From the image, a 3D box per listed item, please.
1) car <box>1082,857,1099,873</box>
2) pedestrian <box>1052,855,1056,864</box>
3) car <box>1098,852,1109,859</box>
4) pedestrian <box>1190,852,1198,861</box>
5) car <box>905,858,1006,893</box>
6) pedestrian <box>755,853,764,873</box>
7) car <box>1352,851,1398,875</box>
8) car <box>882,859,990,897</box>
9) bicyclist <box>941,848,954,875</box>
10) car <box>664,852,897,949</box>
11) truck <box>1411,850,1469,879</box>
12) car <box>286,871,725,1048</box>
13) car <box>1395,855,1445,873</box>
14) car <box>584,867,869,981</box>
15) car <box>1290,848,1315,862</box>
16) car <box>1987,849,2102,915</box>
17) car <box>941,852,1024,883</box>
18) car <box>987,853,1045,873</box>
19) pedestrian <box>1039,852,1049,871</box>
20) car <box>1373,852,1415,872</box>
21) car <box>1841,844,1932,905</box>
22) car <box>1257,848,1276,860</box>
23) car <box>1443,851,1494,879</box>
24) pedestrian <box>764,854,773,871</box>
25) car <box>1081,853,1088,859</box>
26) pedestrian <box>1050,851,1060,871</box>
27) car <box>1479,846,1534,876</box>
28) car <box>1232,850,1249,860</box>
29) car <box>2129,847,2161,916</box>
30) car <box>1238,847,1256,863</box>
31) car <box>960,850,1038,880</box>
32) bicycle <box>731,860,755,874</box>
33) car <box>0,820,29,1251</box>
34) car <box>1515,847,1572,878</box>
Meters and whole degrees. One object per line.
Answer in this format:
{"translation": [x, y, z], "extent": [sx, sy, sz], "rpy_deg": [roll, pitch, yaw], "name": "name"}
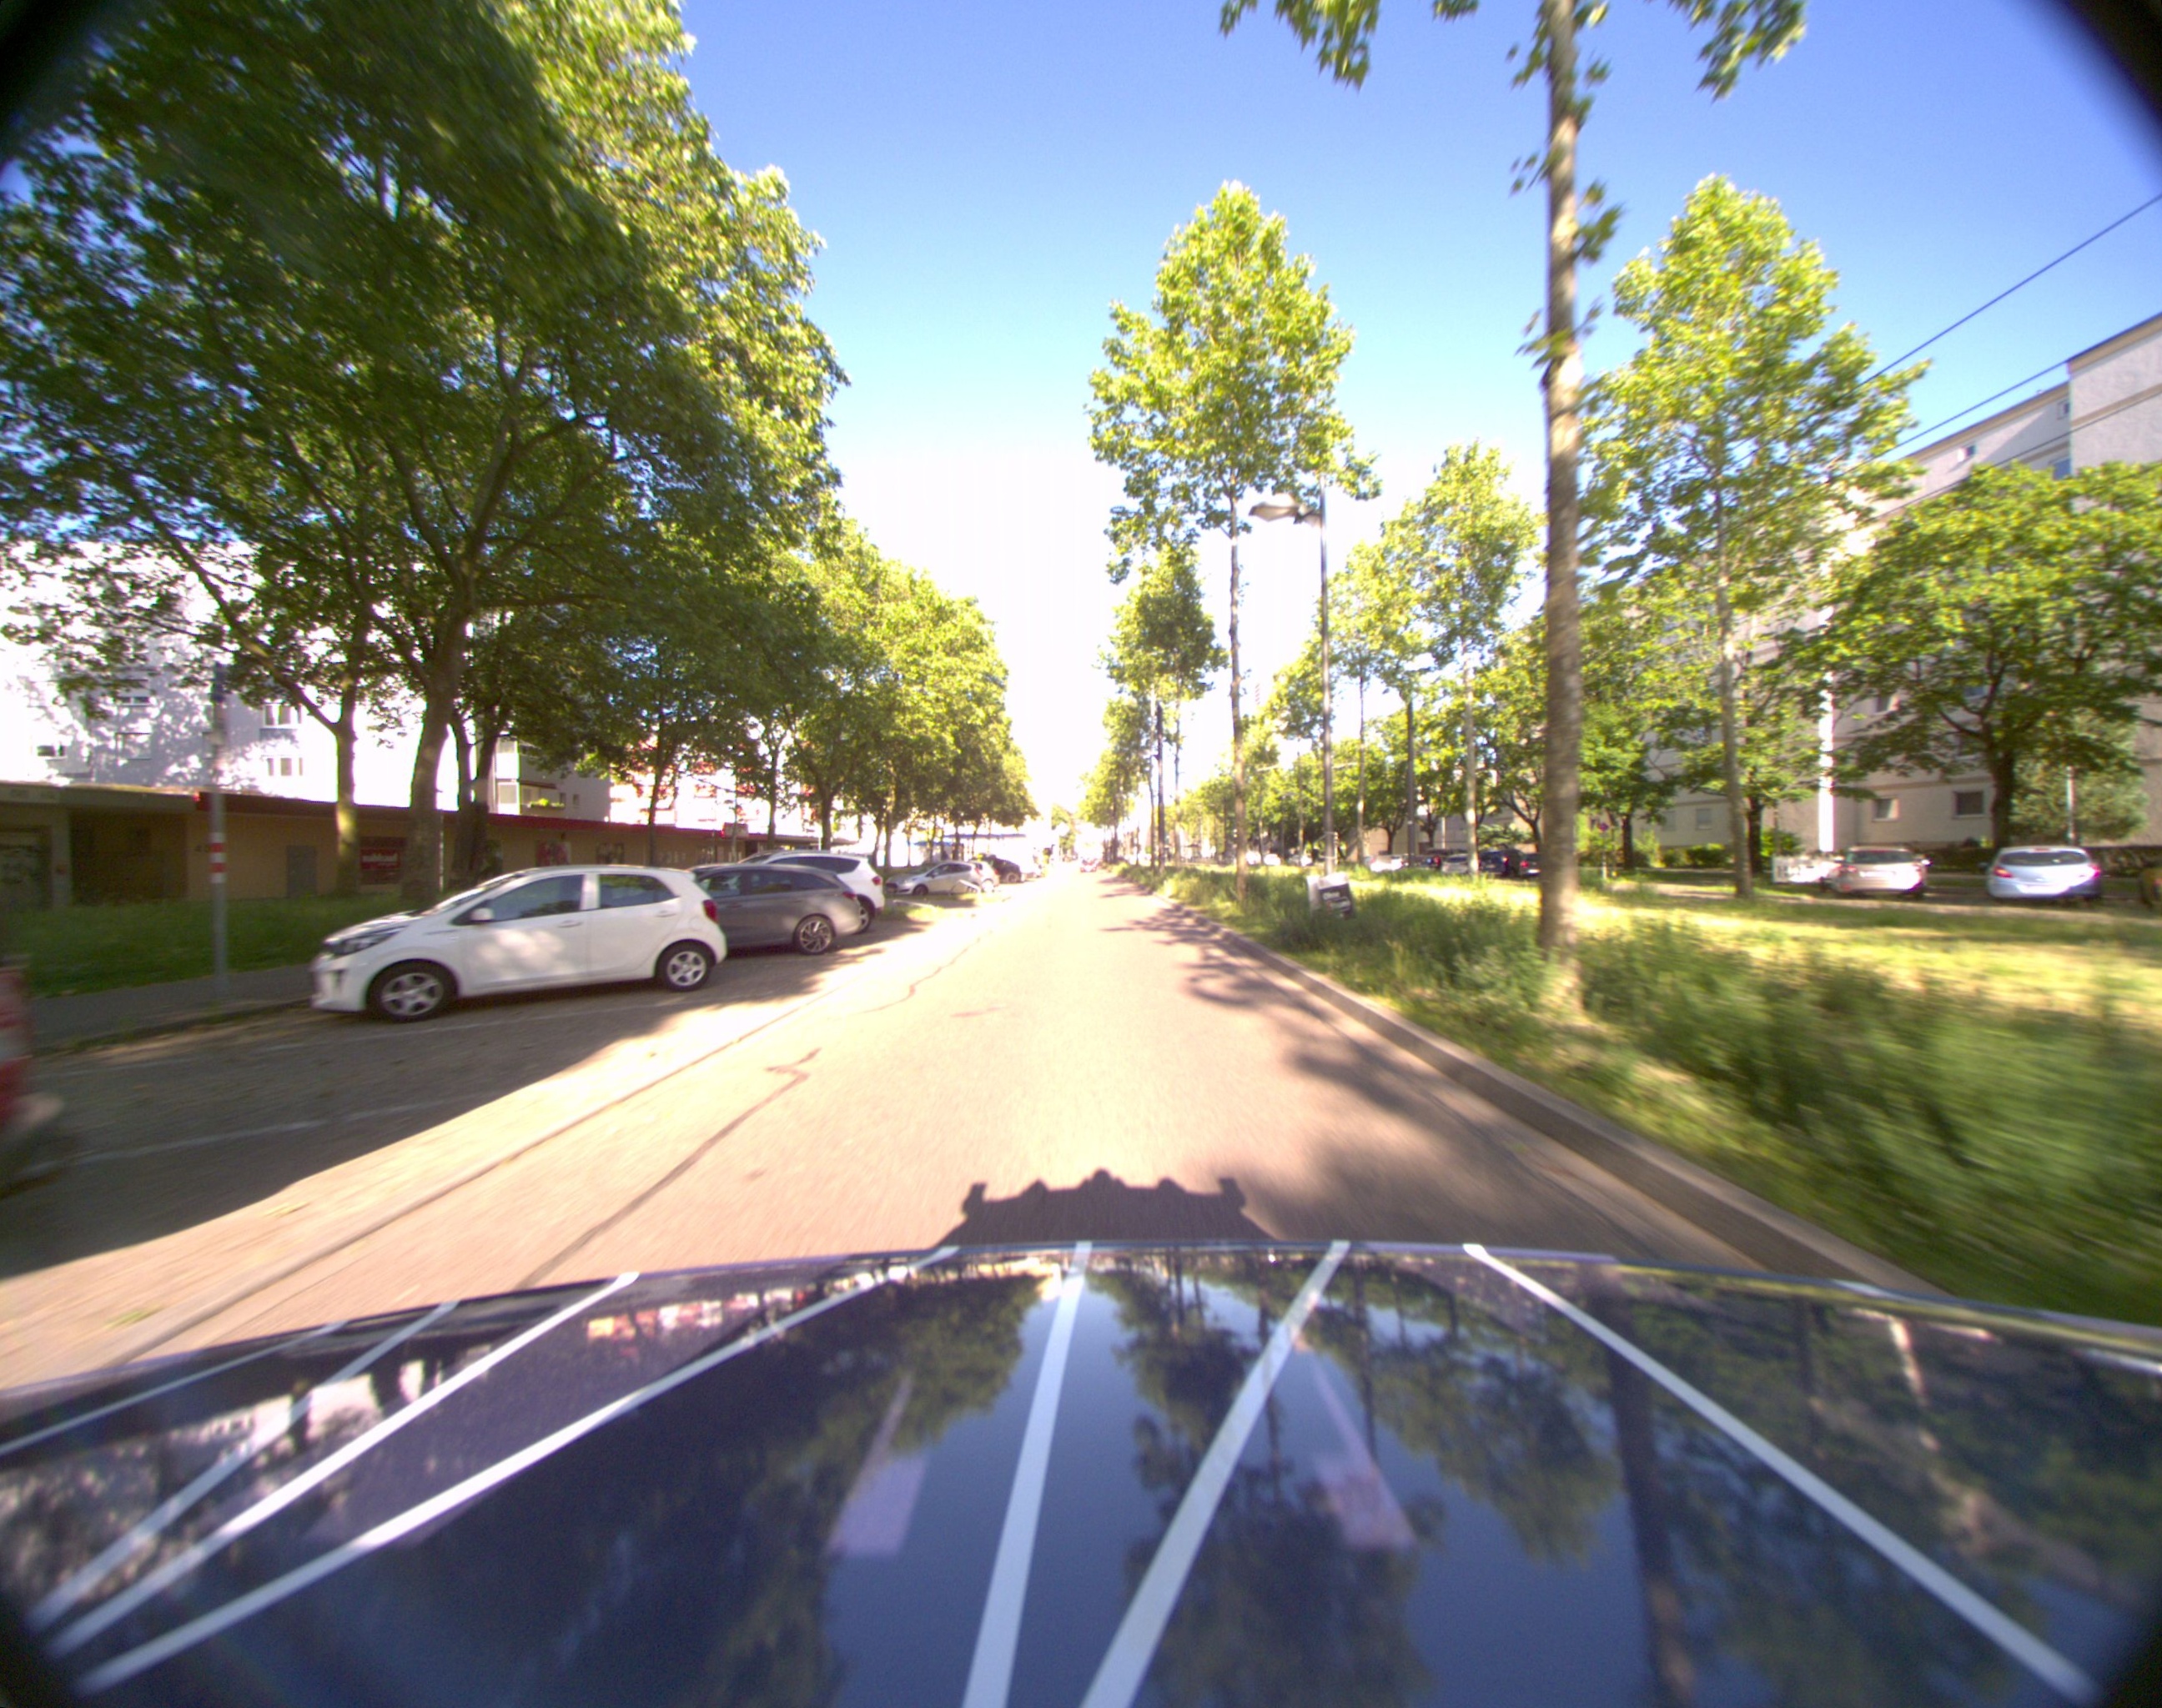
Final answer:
{"translation": [0.973, 1.094, 77.518], "extent": [1.619, 1.536, 4.277], "rpy_deg": [-1, 0, 2], "name": "car"}
{"translation": [-5.300, 1.127, 149.443], "extent": [0.605, 1.691, 0.552], "rpy_deg": [-1, 0, 5], "name": "pedestrian"}
{"translation": [5.861, 0.410, 198.230], "extent": [1.545, 1.522, 3.597], "rpy_deg": [-3, 1, -20], "name": "car"}
{"translation": [16.077, 0.316, 108.085], "extent": [0.838, 1.253, 0.801], "rpy_deg": [-2, 1, 30], "name": "pedestrian"}
{"translation": [-5.536, 0.911, 33.868], "extent": [4.194, 1.404, 1.715], "rpy_deg": [0, 0, -42], "name": "car"}
{"translation": [-27.658, 0.768, 65.407], "extent": [0.496, 1.690, 0.715], "rpy_deg": [-1, 0, -5], "name": "pedestrian"}
{"translation": [19.850, 0.580, 51.470], "extent": [1.650, 1.477, 3.849], "rpy_deg": [0, 1, 0], "name": "car"}
{"translation": [-5.655, 0.901, 29.870], "extent": [3.947, 1.365, 1.583], "rpy_deg": [0, 0, -42], "name": "car"}
{"translation": [-8.690, 0.498, 49.493], "extent": [0.624, 1.730, 1.023], "rpy_deg": [-1, 0, 1], "name": "bicyclist"}
{"translation": [-5.991, 0.825, 15.396], "extent": [4.036, 1.695, 1.756], "rpy_deg": [0, 1, -40], "name": "car"}
{"translation": [24.209, 0.679, 51.204], "extent": [4.092, 1.765, 1.646], "rpy_deg": [-1, 3, -35], "name": "truck"}
{"translation": [-6.142, 0.953, 8.410], "extent": [1.646, 1.440, 3.635], "rpy_deg": [1, 0, 45], "name": "car"}
{"translation": [24.731, 0.738, 55.384], "extent": [3.833, 1.239, 1.835], "rpy_deg": [-1, 0, -41], "name": "car"}
{"translation": [-5.511, 0.970, 12.080], "extent": [3.795, 1.462, 1.646], "rpy_deg": [0, 0, -42], "name": "car"}
{"translation": [24.513, 0.090, 84.245], "extent": [1.718, 1.537, 4.201], "rpy_deg": [-1, 0, 2], "name": "car"}
{"translation": [24.328, 0.627, 19.301], "extent": [4.093, 1.474, 1.647], "rpy_deg": [-1, 0, -41], "name": "car"}
{"translation": [-5.611, 0.729, 43.618], "extent": [4.512, 1.695, 1.756], "rpy_deg": [0, 1, -40], "name": "car"}
{"translation": [-4.967, 0.690, 57.894], "extent": [4.005, 1.461, 1.756], "rpy_deg": [2, 0, -30], "name": "car"}
{"translation": [-3.402, 0.714, 69.975], "extent": [0.714, 1.696, 0.652], "rpy_deg": [0, 1, -33], "name": "pedestrian"}
{"translation": [24.307, 0.611, 59.003], "extent": [1.835, 1.426, 3.833], "rpy_deg": [-1, 0, 42], "name": "car"}
{"translation": [23.892, 0.541, 22.486], "extent": [4.093, 1.636, 1.647], "rpy_deg": [-1, 0, -41], "name": "car"}
{"translation": [23.464, -0.022, 96.092], "extent": [1.718, 1.537, 3.934], "rpy_deg": [-1, 0, 3], "name": "car"}
{"translation": [24.213, 0.655, 47.465], "extent": [1.646, 1.637, 4.093], "rpy_deg": [2, 2, 45], "name": "car"}
{"translation": [-27.167, 0.749, 66.037], "extent": [0.533, 1.422, 0.715], "rpy_deg": [-1, 0, -5], "name": "pedestrian"}
{"translation": [1.179, 0.608, 256.399], "extent": [1.998, 1.806, 4.000], "rpy_deg": [-2, 0, 0], "name": "car"}
{"translation": [-2.459, 0.678, 72.041], "extent": [0.799, 1.874, 0.928], "rpy_deg": [-1, 0, 5], "name": "pedestrian"}
{"translation": [24.635, 0.400, 43.956], "extent": [4.094, 1.636, 1.647], "rpy_deg": [0, -2, -45], "name": "car"}
{"translation": [23.628, 0.119, 112.763], "extent": [1.598, 1.480, 4.020], "rpy_deg": [-1, 0, 0], "name": "car"}
{"translation": [24.260, 0.548, 16.384], "extent": [4.093, 1.423, 1.575], "rpy_deg": [0, -2, -41], "name": "car"}
{"translation": [23.533, 0.191, 107.853], "extent": [1.718, 2.249, 3.933], "rpy_deg": [-1, 0, 0], "name": "car"}
{"translation": [-5.142, 0.658, 47.967], "extent": [4.680, 1.842, 1.825], "rpy_deg": [0, 1, -39], "name": "car"}
{"translation": [-29.774, 1.128, 66.952], "extent": [0.597, 1.172, 1.854], "rpy_deg": [-2, 0, 28], "name": "bicycle"}
{"translation": [-5.754, 0.755, 1.442], "extent": [4.093, 1.800, 1.646], "rpy_deg": [0, 1, -39], "name": "car"}
{"translation": [24.550, 0.425, 40.268], "extent": [1.647, 1.466, 4.094], "rpy_deg": [-6, -4, 44], "name": "car"}
